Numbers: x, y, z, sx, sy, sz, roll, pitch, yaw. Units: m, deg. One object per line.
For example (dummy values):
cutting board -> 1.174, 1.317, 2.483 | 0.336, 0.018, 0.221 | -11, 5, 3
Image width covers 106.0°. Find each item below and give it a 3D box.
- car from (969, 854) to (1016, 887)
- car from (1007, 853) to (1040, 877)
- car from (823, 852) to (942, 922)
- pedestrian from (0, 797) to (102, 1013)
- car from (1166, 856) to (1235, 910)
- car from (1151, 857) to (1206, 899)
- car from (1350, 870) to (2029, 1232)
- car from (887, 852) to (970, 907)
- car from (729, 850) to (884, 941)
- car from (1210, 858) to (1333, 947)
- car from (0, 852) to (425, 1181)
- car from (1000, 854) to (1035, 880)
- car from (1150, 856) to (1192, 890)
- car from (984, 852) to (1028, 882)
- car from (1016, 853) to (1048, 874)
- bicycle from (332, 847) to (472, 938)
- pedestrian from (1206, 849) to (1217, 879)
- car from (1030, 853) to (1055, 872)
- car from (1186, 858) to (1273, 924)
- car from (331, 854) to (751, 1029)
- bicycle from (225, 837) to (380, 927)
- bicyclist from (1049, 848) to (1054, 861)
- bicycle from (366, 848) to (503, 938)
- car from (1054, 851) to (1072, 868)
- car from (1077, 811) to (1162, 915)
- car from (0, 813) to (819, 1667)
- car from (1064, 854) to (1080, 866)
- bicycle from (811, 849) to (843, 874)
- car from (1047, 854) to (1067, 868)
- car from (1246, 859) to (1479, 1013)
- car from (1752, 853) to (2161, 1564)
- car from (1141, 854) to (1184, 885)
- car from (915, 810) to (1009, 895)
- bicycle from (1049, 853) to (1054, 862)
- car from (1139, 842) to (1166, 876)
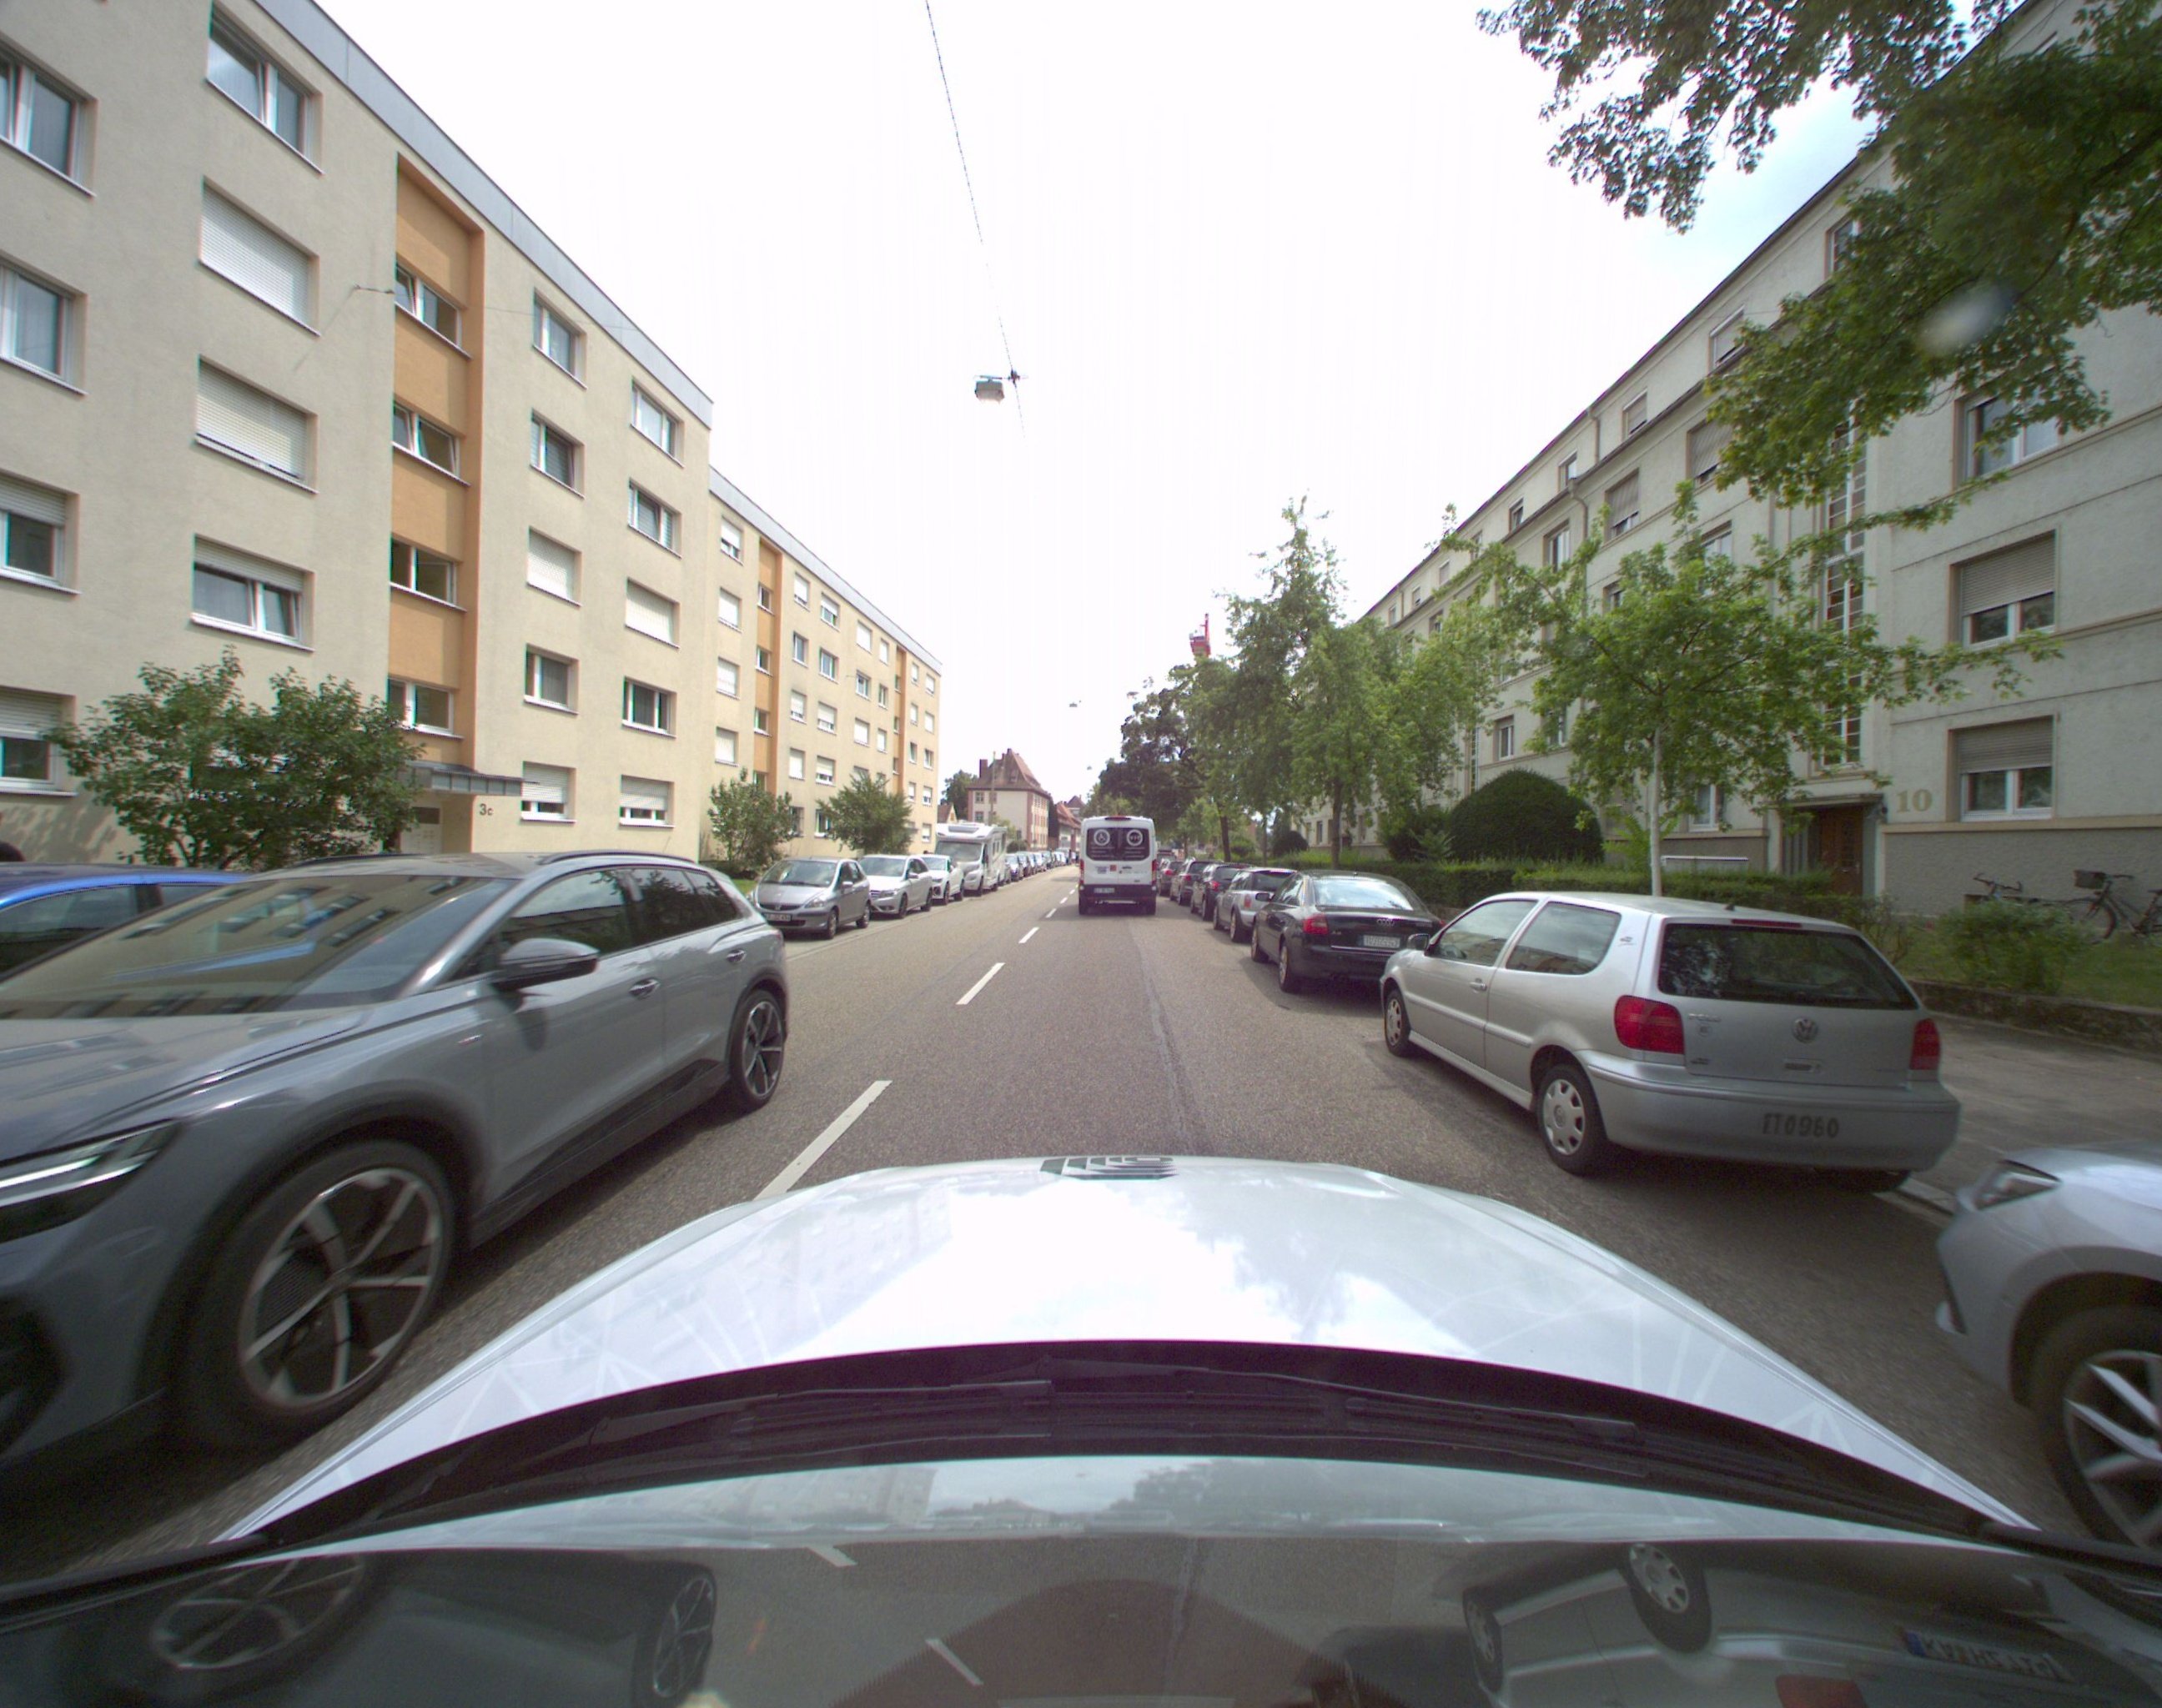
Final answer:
car -> -4.317, 0.761, 40.453 | 1.682, 1.496, 4.595 | 2, 0, 1
car -> -4.020, 0.740, 57.540 | 1.879, 1.579, 4.153 | 2, 0, 1
car -> -5.082, 0.780, 21.518 | 1.748, 1.579, 4.571 | 2, 0, 3
pedestrian -> -9.390, 0.428, 7.137 | 0.617, 1.813, 0.803 | 0, 0, -1
car -> 3.990, 0.908, 27.706 | 1.654, 1.583, 4.285 | 3, 0, 0
car -> 3.848, 0.917, 32.702 | 1.612, 1.469, 4.390 | 2, 0, 0
car -> 3.253, 0.882, 5.425 | 1.664, 1.400, 3.852 | 3, 0, 1
car -> -4.871, 0.756, 26.649 | 1.682, 1.579, 4.595 | 2, 0, 1
car -> -5.360, 0.731, 16.485 | 1.717, 1.539, 4.005 | 1, 1, 1
car -> 3.675, 0.866, 16.294 | 1.653, 1.469, 3.727 | 1, 1, 1
car -> -5.904, 0.756, 4.112 | 1.810, 1.483, 3.889 | 2, 0, 4
car -> -4.041, 0.812, 52.347 | 1.735, 1.496, 4.787 | 2, 0, 1
car -> 4.140, 0.849, 38.058 | 1.652, 1.456, 4.038 | 2, 0, 2
car -> -4.207, 0.689, 46.318 | 1.879, 1.579, 5.220 | 2, 0, 1
car -> -3.764, 0.700, 63.538 | 1.877, 1.488, 4.638 | 2, 0, 4
bicycle -> -11.516, 0.595, 13.913 | 0.460, 1.412, 2.133 | 1, 1, 5
pedestrian -> 8.137, 0.608, 50.769 | 0.525, 1.828, 0.519 | 0, 0, -30
car -> -3.464, 0.739, 73.252 | 1.778, 1.543, 3.864 | 2, 0, 3
car -> 3.786, 0.890, 21.294 | 1.653, 1.469, 3.891 | 0, 1, 1
car -> -5.655, 0.775, 9.307 | 1.810, 1.483, 4.120 | 2, 0, 4
bicycle -> -13.244, 0.429, 13.956 | 0.460, 1.425, 2.133 | 1, 1, 5
bicyclist -> -3.831, 0.053, 105.578 | 0.533, 1.585, 0.692 | 0, 0, 5
bicycle -> -10.933, 0.612, 13.874 | 0.459, 1.393, 2.133 | 1, 1, 6
car -> -2.108, 0.624, 96.484 | 1.778, 1.827, 3.977 | 2, 0, 3
car -> 0.961, 0.230, 22.333 | 2.063, 2.540, 4.634 | 0, -1, 0
car -> -2.866, 0.721, 3.719 | 1.811, 1.585, 4.437 | 0, 0, 1
car -> -1.149, 0.762, 107.606 | 1.778, 1.482, 3.864 | 2, 0, 3
bicycle -> -10.348, 0.293, 33.295 | 0.451, 0.980, 2.447 | 1, 1, 2
car -> -2.665, 0.776, 91.194 | 1.778, 1.482, 3.864 | 2, 0, 3
car -> 3.331, 0.844, 10.619 | 1.771, 1.469, 4.621 | 2, 0, 5
car -> 3.073, 0.765, 0.378 | 1.691, 1.469, 4.719 | 2, 0, 1
car -> 4.758, 0.871, 48.303 | 1.921, 1.661, 5.324 | 3, 0, 0
car -> -4.678, -0.052, 33.493 | 2.501, 3.024, 7.399 | 2, 0, 1
bicycle -> -3.801, 0.457, 105.904 | 0.539, 1.175, 1.351 | 0, 0, 5
car -> 5.845, 0.371, 66.906 | 1.889, 2.587, 4.831 | 3, 0, 2
